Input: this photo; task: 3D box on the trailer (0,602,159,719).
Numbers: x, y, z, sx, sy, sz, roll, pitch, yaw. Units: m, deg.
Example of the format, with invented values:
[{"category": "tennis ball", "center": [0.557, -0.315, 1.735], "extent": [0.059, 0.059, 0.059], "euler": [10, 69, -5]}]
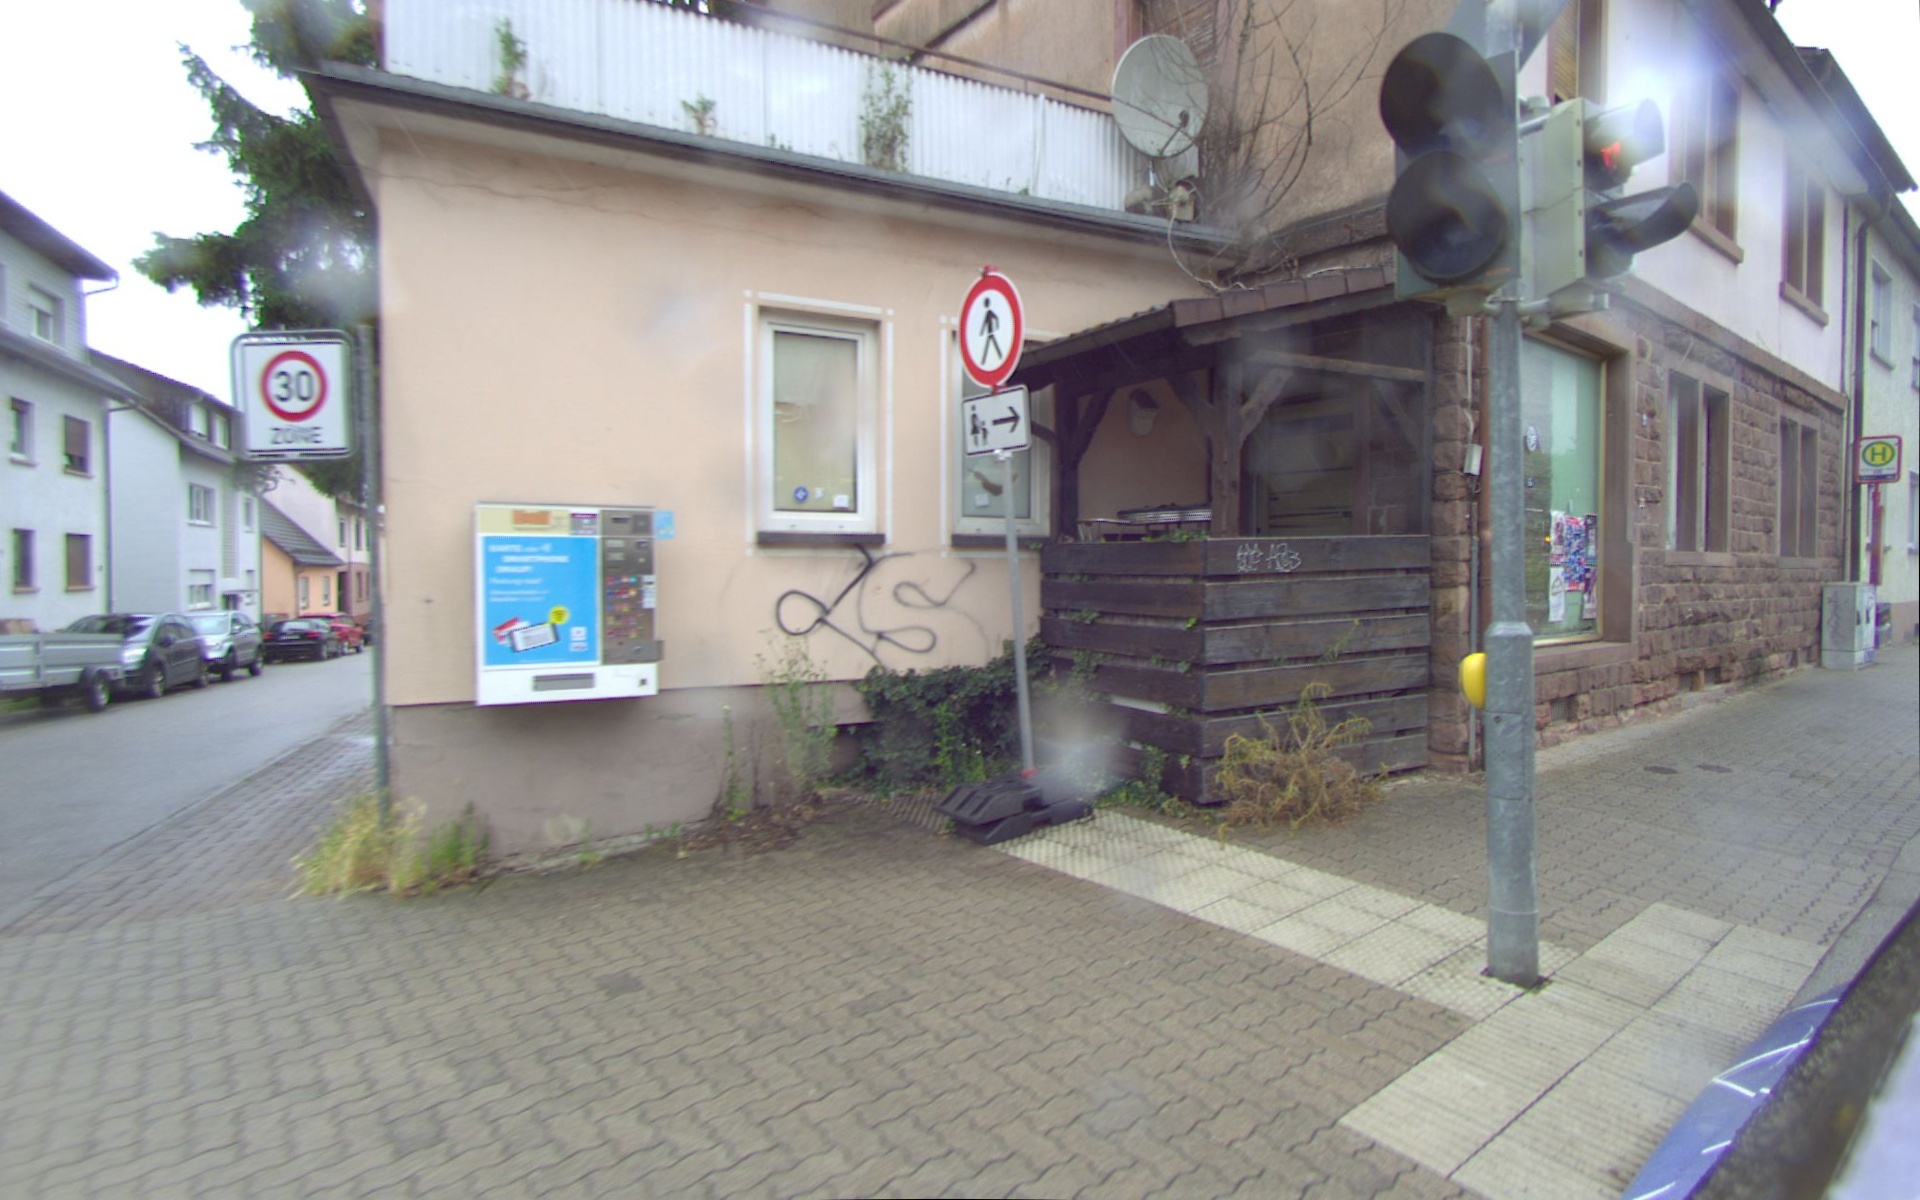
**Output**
[{"category": "trailer", "center": [-14.588, 0.885, 15.753], "extent": [1.962, 1.586, 4.556], "euler": [-3, 1, -20]}]

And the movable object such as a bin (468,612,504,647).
[{"category": "movable object such as a bin", "center": [-11.549, 0.709, 24.688], "extent": [0.685, 0.775, 0.745], "euler": [-3, 2, -19]}]

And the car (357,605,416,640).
[{"category": "car", "center": [-29.014, 1.114, 51.313], "extent": [1.959, 1.590, 4.104], "euler": [-3, 1, -21]}]

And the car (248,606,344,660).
[{"category": "car", "center": [-22.146, 1.037, 33.928], "extent": [1.959, 1.590, 4.104], "euler": [-3, 1, -23]}]

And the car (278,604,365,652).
[{"category": "car", "center": [-24.086, 1.011, 38.322], "extent": [1.959, 1.590, 4.104], "euler": [-3, 1, -21]}]

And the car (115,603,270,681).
[{"category": "car", "center": [-18.192, 0.921, 24.214], "extent": [1.959, 1.590, 4.104], "euler": [-3, 1, -23]}]

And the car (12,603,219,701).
[{"category": "car", "center": [-16.329, 0.911, 19.843], "extent": [1.959, 1.590, 4.104], "euler": [-3, 1, -23]}]
